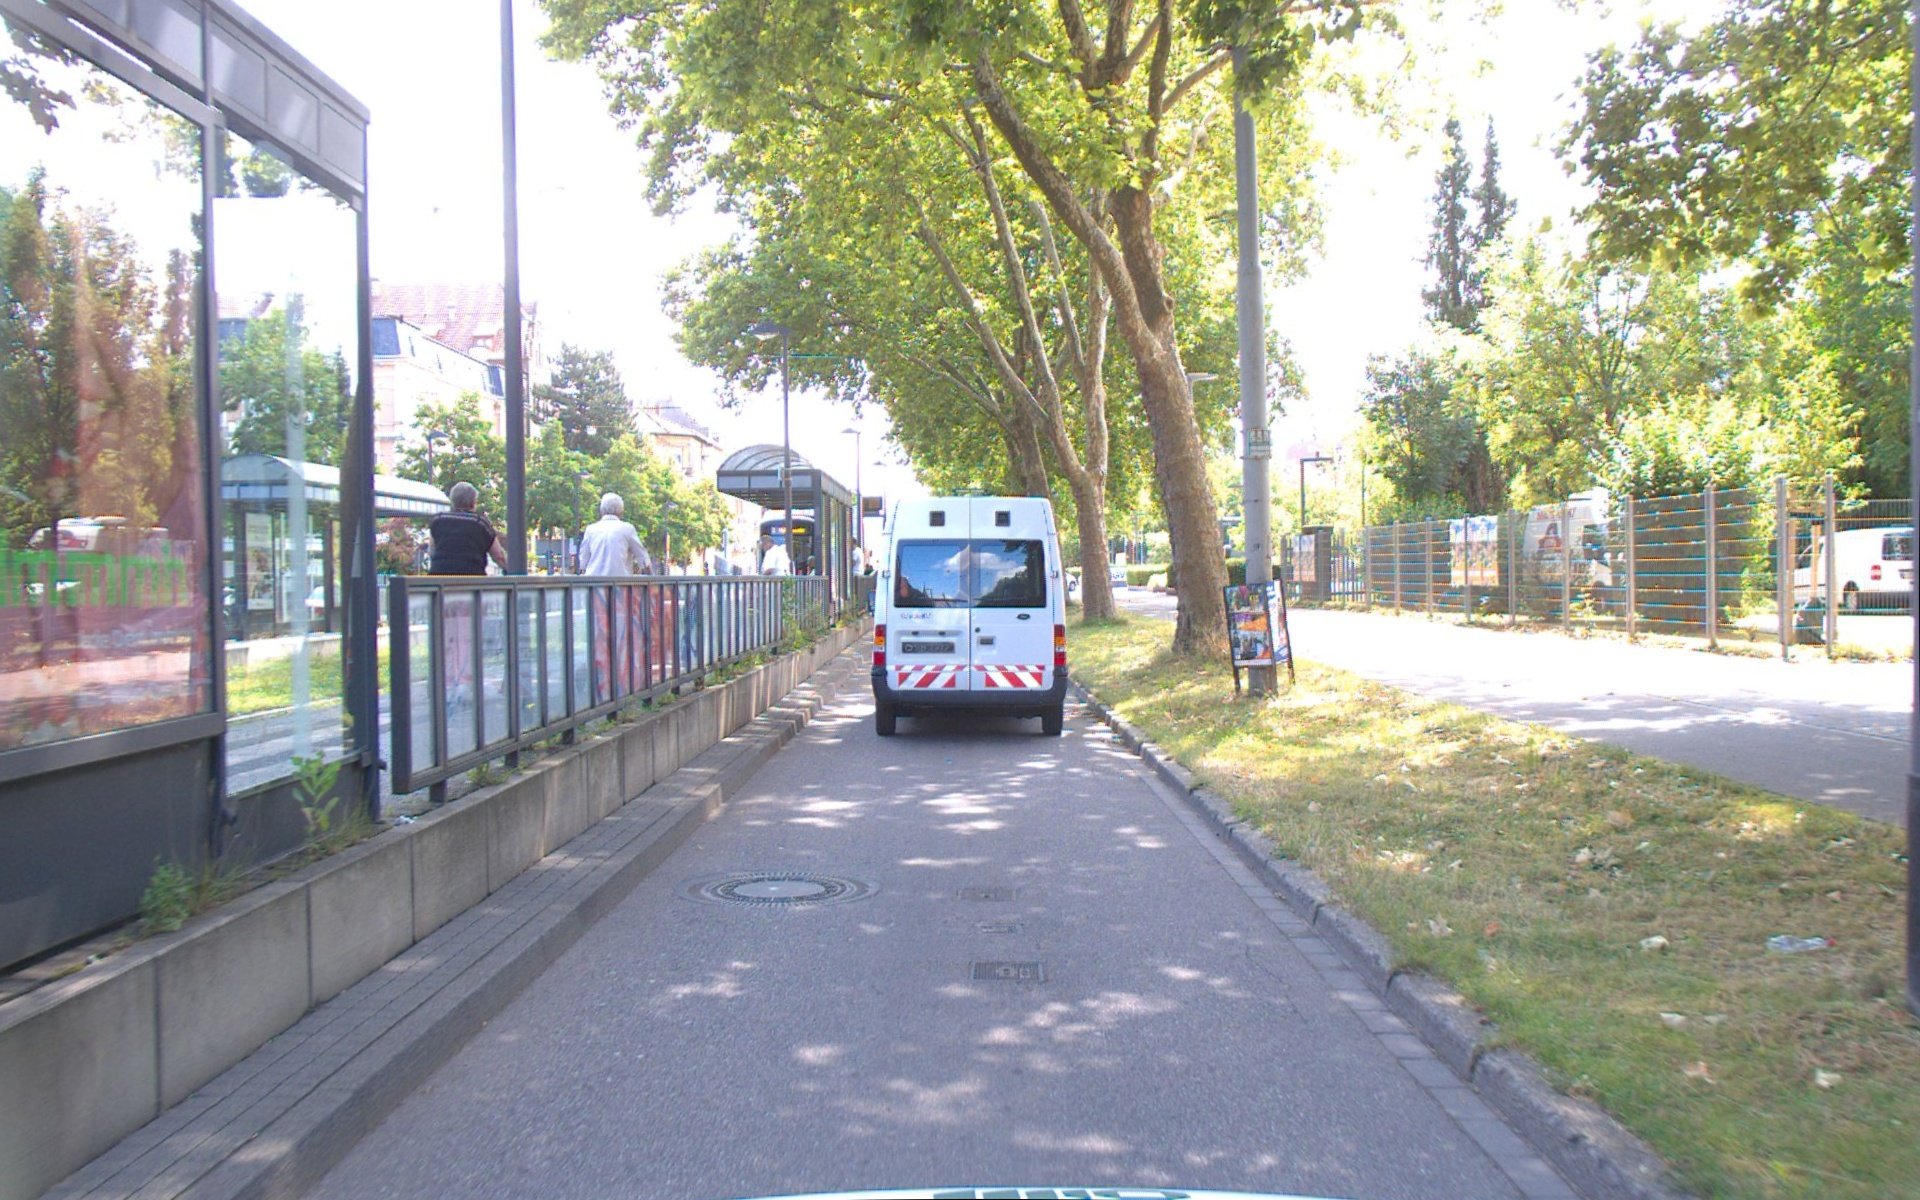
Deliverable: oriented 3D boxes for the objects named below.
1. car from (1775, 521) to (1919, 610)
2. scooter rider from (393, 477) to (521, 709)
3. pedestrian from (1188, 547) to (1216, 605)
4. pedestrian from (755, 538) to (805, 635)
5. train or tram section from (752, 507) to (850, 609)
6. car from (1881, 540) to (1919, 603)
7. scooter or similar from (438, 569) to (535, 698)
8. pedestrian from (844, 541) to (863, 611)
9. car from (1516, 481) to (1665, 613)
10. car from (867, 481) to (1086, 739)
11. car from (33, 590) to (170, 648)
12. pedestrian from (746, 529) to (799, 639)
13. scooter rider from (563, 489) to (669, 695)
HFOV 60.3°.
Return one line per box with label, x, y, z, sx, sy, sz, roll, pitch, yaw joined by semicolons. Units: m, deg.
car;19.971;-0.766;36.675;1.769;1.846;4.340;-1;1;2
scooter rider;-3.698;-0.059;12.220;0.641;1.642;0.901;-1;1;-1
pedestrian;7.058;-0.704;48.229;0.679;1.653;0.637;-1;1;-1
pedestrian;-2.687;-0.206;24.727;0.662;1.427;0.596;-1;1;-1
train or tram section;-6.200;-1.620;66.451;2.668;3.646;13.016;-1;1;0
car;22.521;-0.652;36.824;1.770;1.426;4.047;-1;1;0
scooter or similar;-3.691;0.253;12.915;0.619;0.972;0.421;-1;1;-1
pedestrian;-2.488;-0.565;38.655;0.377;1.619;0.439;-1;1;-1
car;14.394;-1.185;38.008;1.770;2.823;4.278;-1;1;0
car;0.110;0.038;17.811;2.005;2.373;4.713;-1;1;-1
car;-22.791;0.466;44.048;1.684;1.395;3.704;-1;1;0
pedestrian;-2.678;-0.234;23.705;0.662;1.542;0.596;-1;1;-1
scooter rider;-2.764;-0.069;13.363;0.641;1.598;0.901;-1;1;-1
